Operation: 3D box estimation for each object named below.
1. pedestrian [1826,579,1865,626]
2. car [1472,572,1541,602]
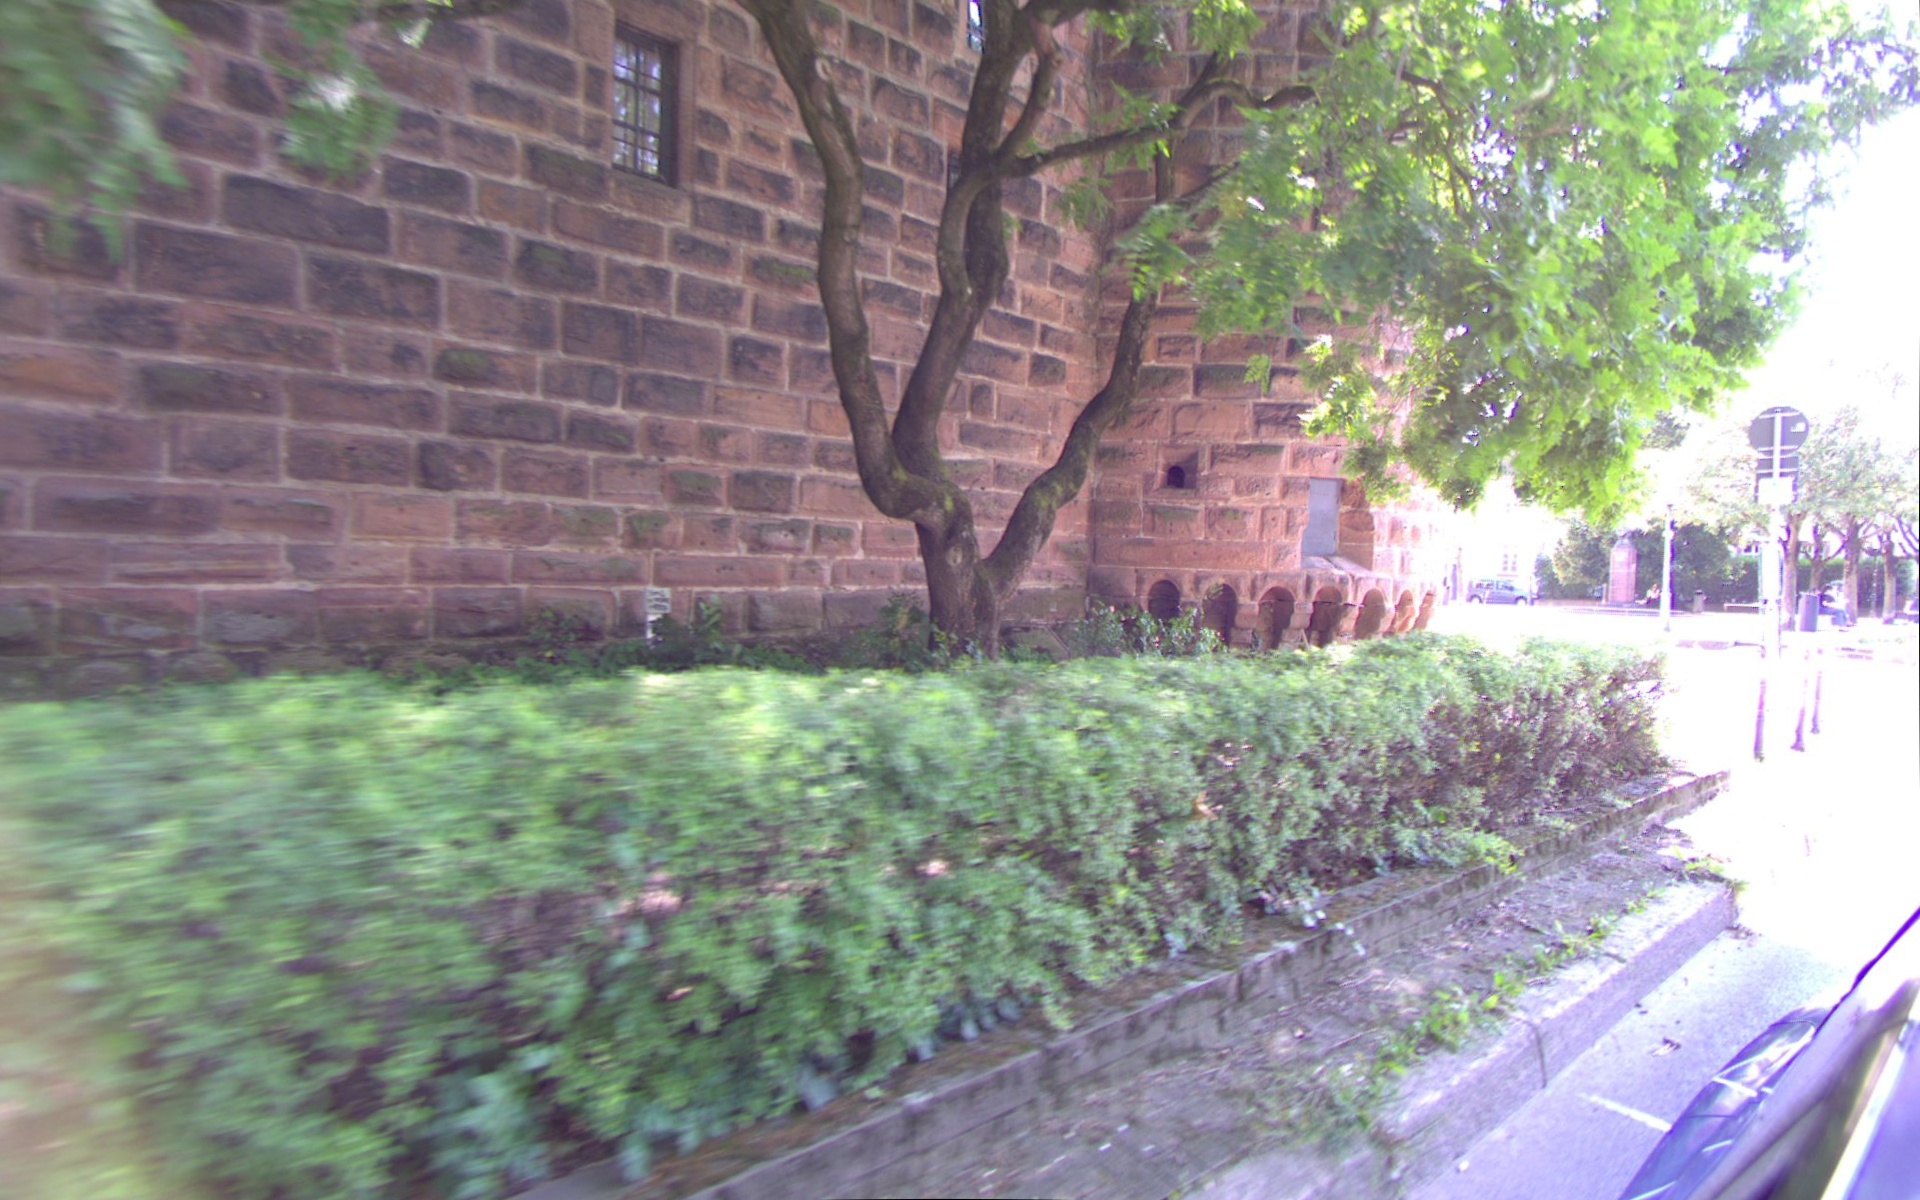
[{"bbox_3d":[23.196,0.059,26.510,0.733,1.208,0.632,0,0,-38],"label":"pedestrian"},{"bbox_3d":[33.097,-0.807,61.296,1.723,1.600,3.234,0,3,-42],"label":"car"}]
